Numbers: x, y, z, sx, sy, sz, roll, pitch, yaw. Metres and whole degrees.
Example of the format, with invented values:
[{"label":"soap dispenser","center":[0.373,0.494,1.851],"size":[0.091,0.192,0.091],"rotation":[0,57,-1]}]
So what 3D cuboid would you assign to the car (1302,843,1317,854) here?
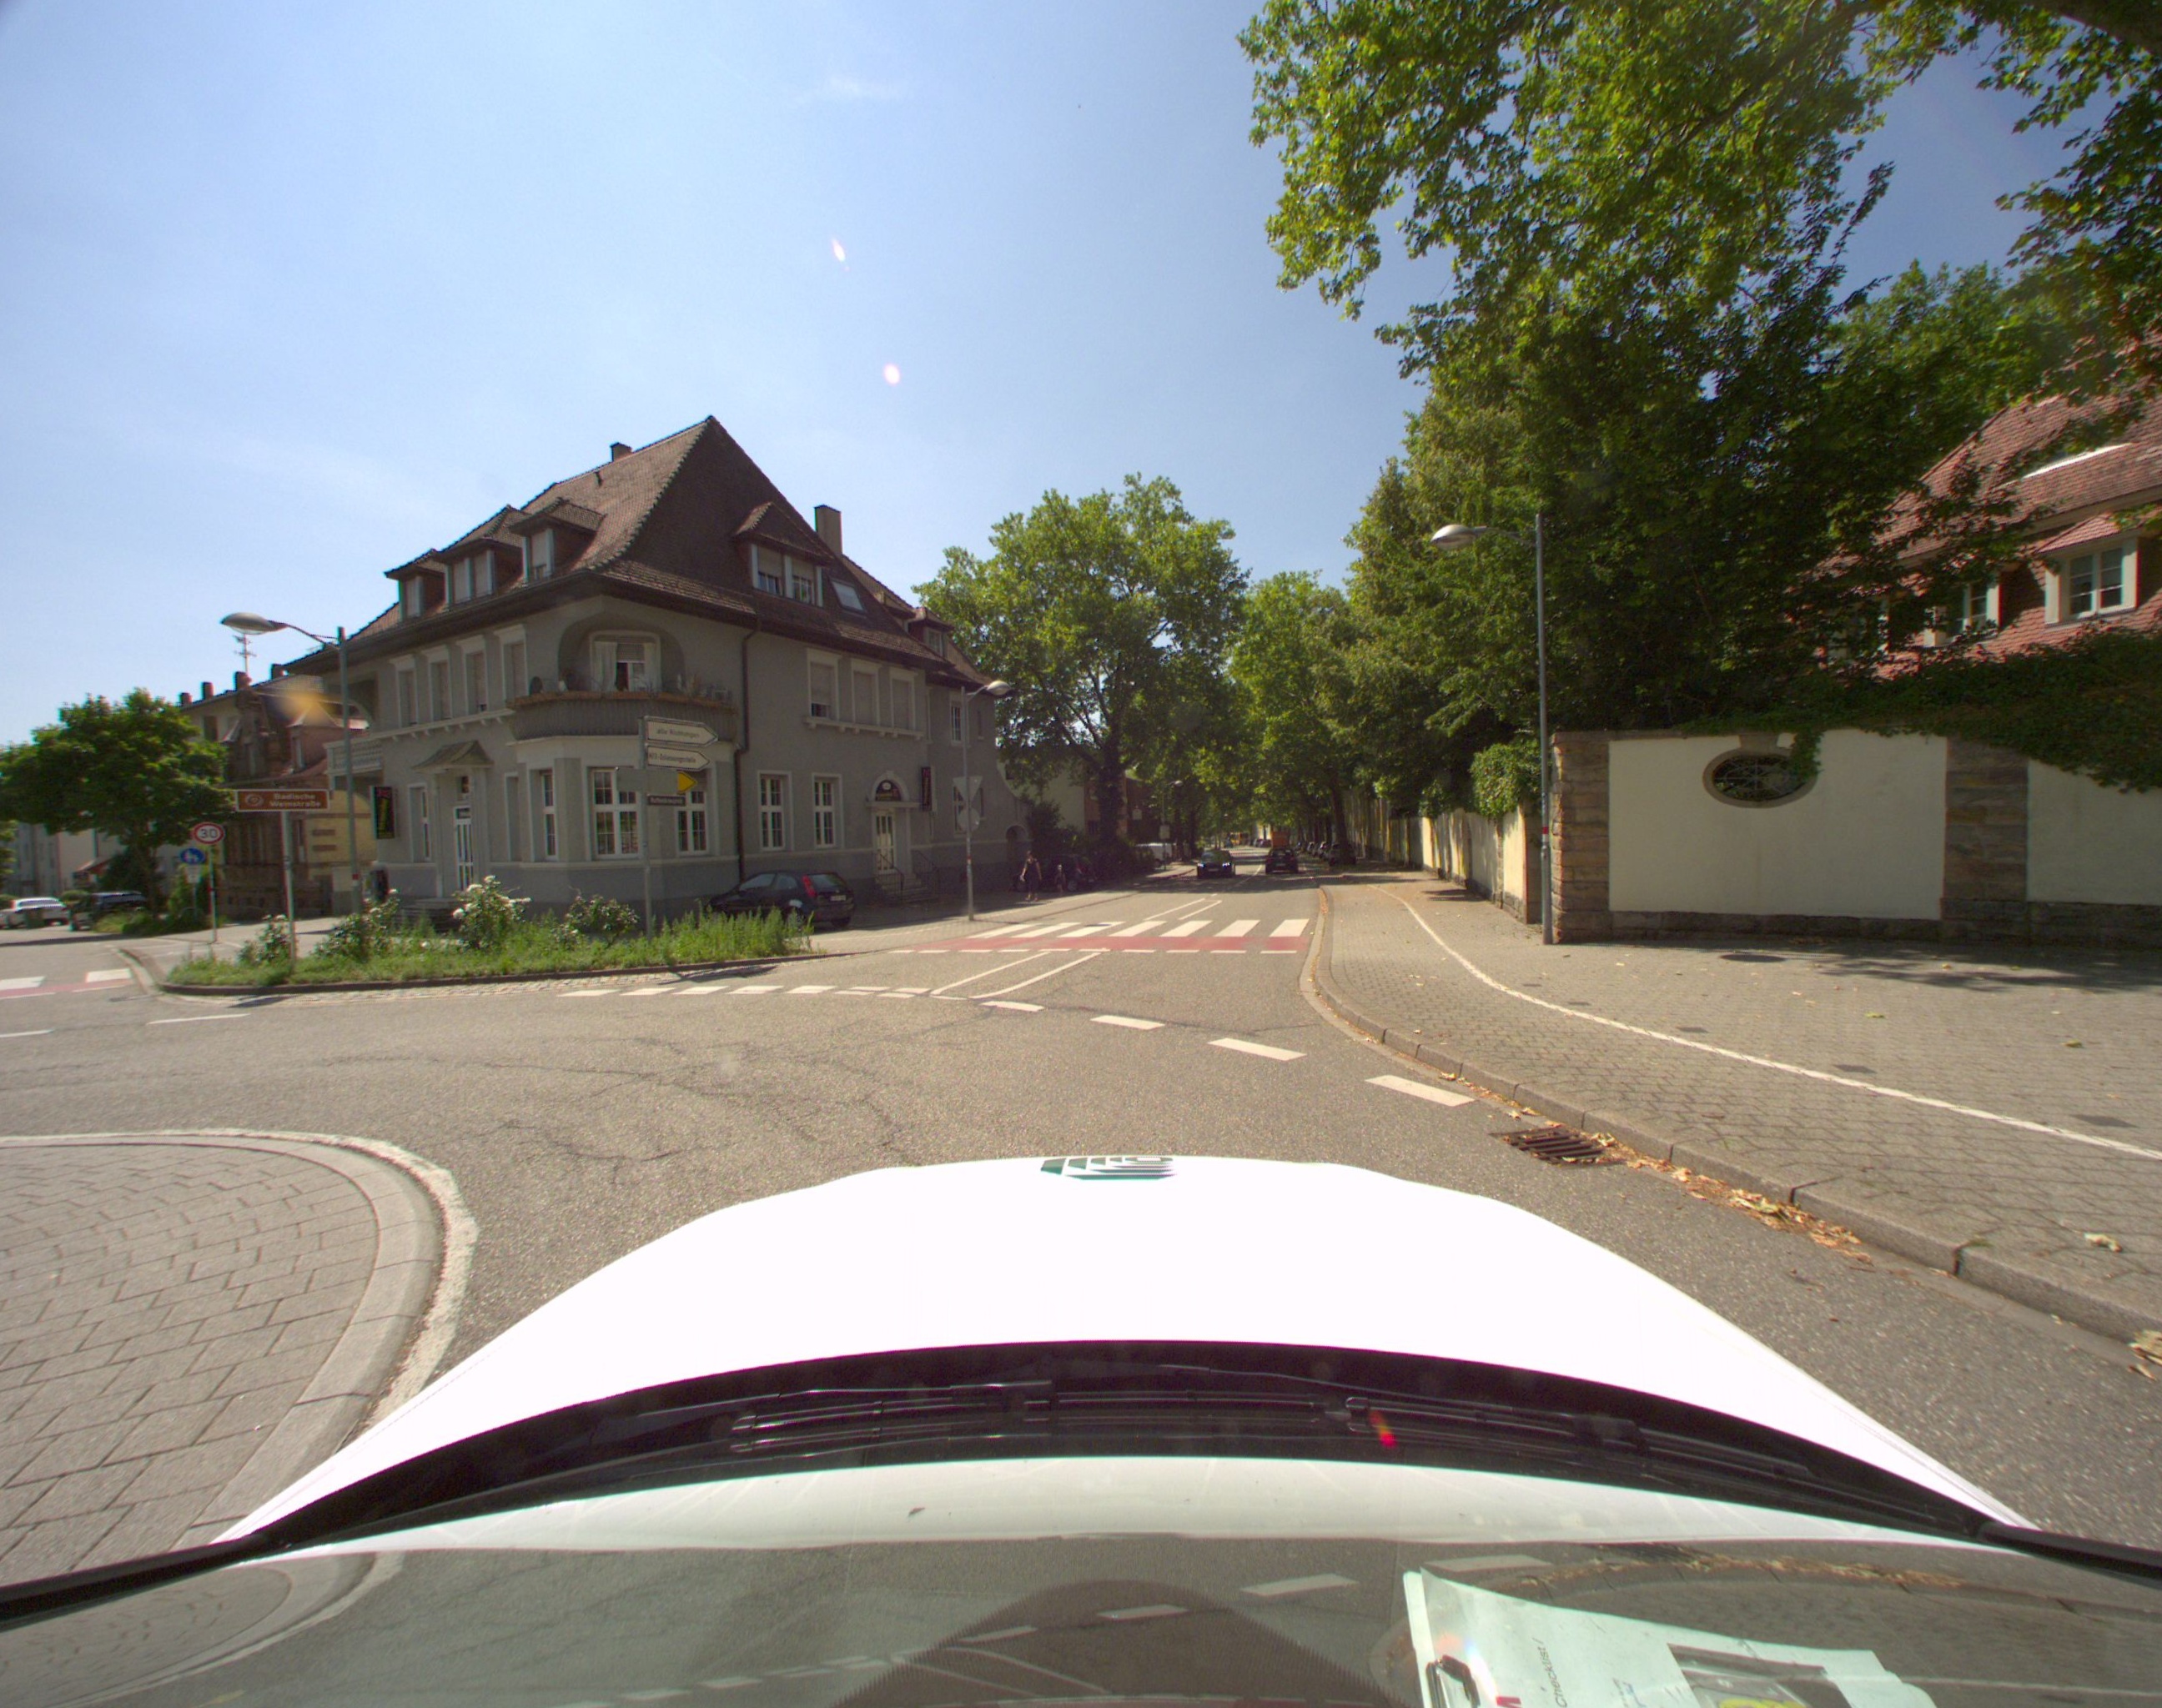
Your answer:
[{"label":"car","center":[32.194,-0.817,114.680],"size":[1.754,1.465,3.889],"rotation":[-3,0,13]}]

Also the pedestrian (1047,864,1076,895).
[{"label":"pedestrian","center":[-0.734,0.975,30.844],"size":[0.747,1.122,0.902],"rotation":[-2,0,21]}]

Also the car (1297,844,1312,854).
[{"label":"car","center":[33.776,-0.824,123.366],"size":[1.756,1.374,3.740],"rotation":[-3,0,10]}]

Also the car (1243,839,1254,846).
[{"label":"car","center":[38.803,-2.674,188.635],"size":[1.760,1.374,3.732],"rotation":[-3,0,2]}]

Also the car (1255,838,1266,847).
[{"label":"car","center":[37.239,-2.307,169.035],"size":[1.868,1.685,4.010],"rotation":[-2,-1,9]}]

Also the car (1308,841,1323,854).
[{"label":"car","center":[29.415,-0.794,102.272],"size":[1.566,1.465,3.889],"rotation":[-3,0,13]}]

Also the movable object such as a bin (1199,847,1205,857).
[{"label":"movable object such as a bin","center":[14.114,-0.224,95.048],"size":[0.618,1.048,0.624],"rotation":[-2,0,20]}]

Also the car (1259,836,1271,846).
[{"label":"car","center":[36.452,-2.545,161.662],"size":[1.869,1.685,4.008],"rotation":[-2,-1,7]}]

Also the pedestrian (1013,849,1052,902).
[{"label":"pedestrian","center":[-1.642,0.725,27.618],"size":[0.864,1.742,1.118],"rotation":[-2,0,21]}]

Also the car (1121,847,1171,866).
[{"label":"car","center":[5.408,0.205,67.476],"size":[3.961,1.515,1.874],"rotation":[0,0,11]}]

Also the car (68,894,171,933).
[{"label":"car","center":[-42.416,2.622,35.907],"size":[4.363,1.509,2.012],"rotation":[-2,0,28]}]

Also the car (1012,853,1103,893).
[{"label":"car","center":[-0.993,0.785,34.388],"size":[3.351,1.546,1.734],"rotation":[-2,0,24]}]

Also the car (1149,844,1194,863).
[{"label":"car","center":[8.647,-0.061,77.702],"size":[4.101,1.804,1.909],"rotation":[0,0,11]}]

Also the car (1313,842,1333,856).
[{"label":"car","center":[26.178,-0.542,88.062],"size":[1.754,1.433,3.889],"rotation":[-3,0,13]}]

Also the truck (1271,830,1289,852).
[{"label":"truck","center":[29.707,-1.899,121.533],"size":[2.354,3.134,5.788],"rotation":[-2,-1,12]}]

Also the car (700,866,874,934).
[{"label":"car","center":[-7.107,1.108,19.677],"size":[3.746,1.460,1.734],"rotation":[-2,0,24]}]

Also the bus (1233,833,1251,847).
[{"label":"bus","center":[40.337,-3.485,204.407],"size":[2.653,3.150,11.203],"rotation":[-2,0,2]}]

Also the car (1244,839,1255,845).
[{"label":"car","center":[37.392,-2.652,180.939],"size":[1.760,1.374,3.731],"rotation":[-3,0,2]}]

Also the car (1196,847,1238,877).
[{"label":"car","center":[7.260,0.397,43.226],"size":[1.756,1.426,4.410],"rotation":[-2,0,15]}]

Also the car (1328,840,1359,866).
[{"label":"car","center":[17.718,-0.106,55.141],"size":[1.728,1.557,4.800],"rotation":[-4,1,16]}]

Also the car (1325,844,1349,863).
[{"label":"car","center":[20.813,-0.053,66.324],"size":[1.609,1.439,4.450],"rotation":[-3,0,14]}]

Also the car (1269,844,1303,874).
[{"label":"car","center":[11.400,0.246,45.363],"size":[1.699,1.447,4.074],"rotation":[-2,1,14]}]

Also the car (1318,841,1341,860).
[{"label":"car","center":[23.728,-0.387,77.903],"size":[1.795,1.689,4.770],"rotation":[-3,0,14]}]

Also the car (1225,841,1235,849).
[{"label":"car","center":[31.880,-1.909,174.697],"size":[1.982,1.666,4.010],"rotation":[-2,-1,9]}]

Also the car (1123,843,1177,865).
[{"label":"car","center":[5.939,-0.011,69.952],"size":[4.394,1.804,1.909],"rotation":[0,0,11]}]

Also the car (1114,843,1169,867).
[{"label":"car","center":[4.700,0.093,62.982],"size":[3.961,1.792,1.874],"rotation":[0,0,11]}]

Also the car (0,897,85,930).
[{"label":"car","center":[-53.132,3.031,41.591],"size":[4.363,1.509,2.012],"rotation":[-2,0,28]}]

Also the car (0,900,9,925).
[{"label":"car","center":[-66.352,3.580,48.720],"size":[4.363,1.509,2.012],"rotation":[-2,0,28]}]
